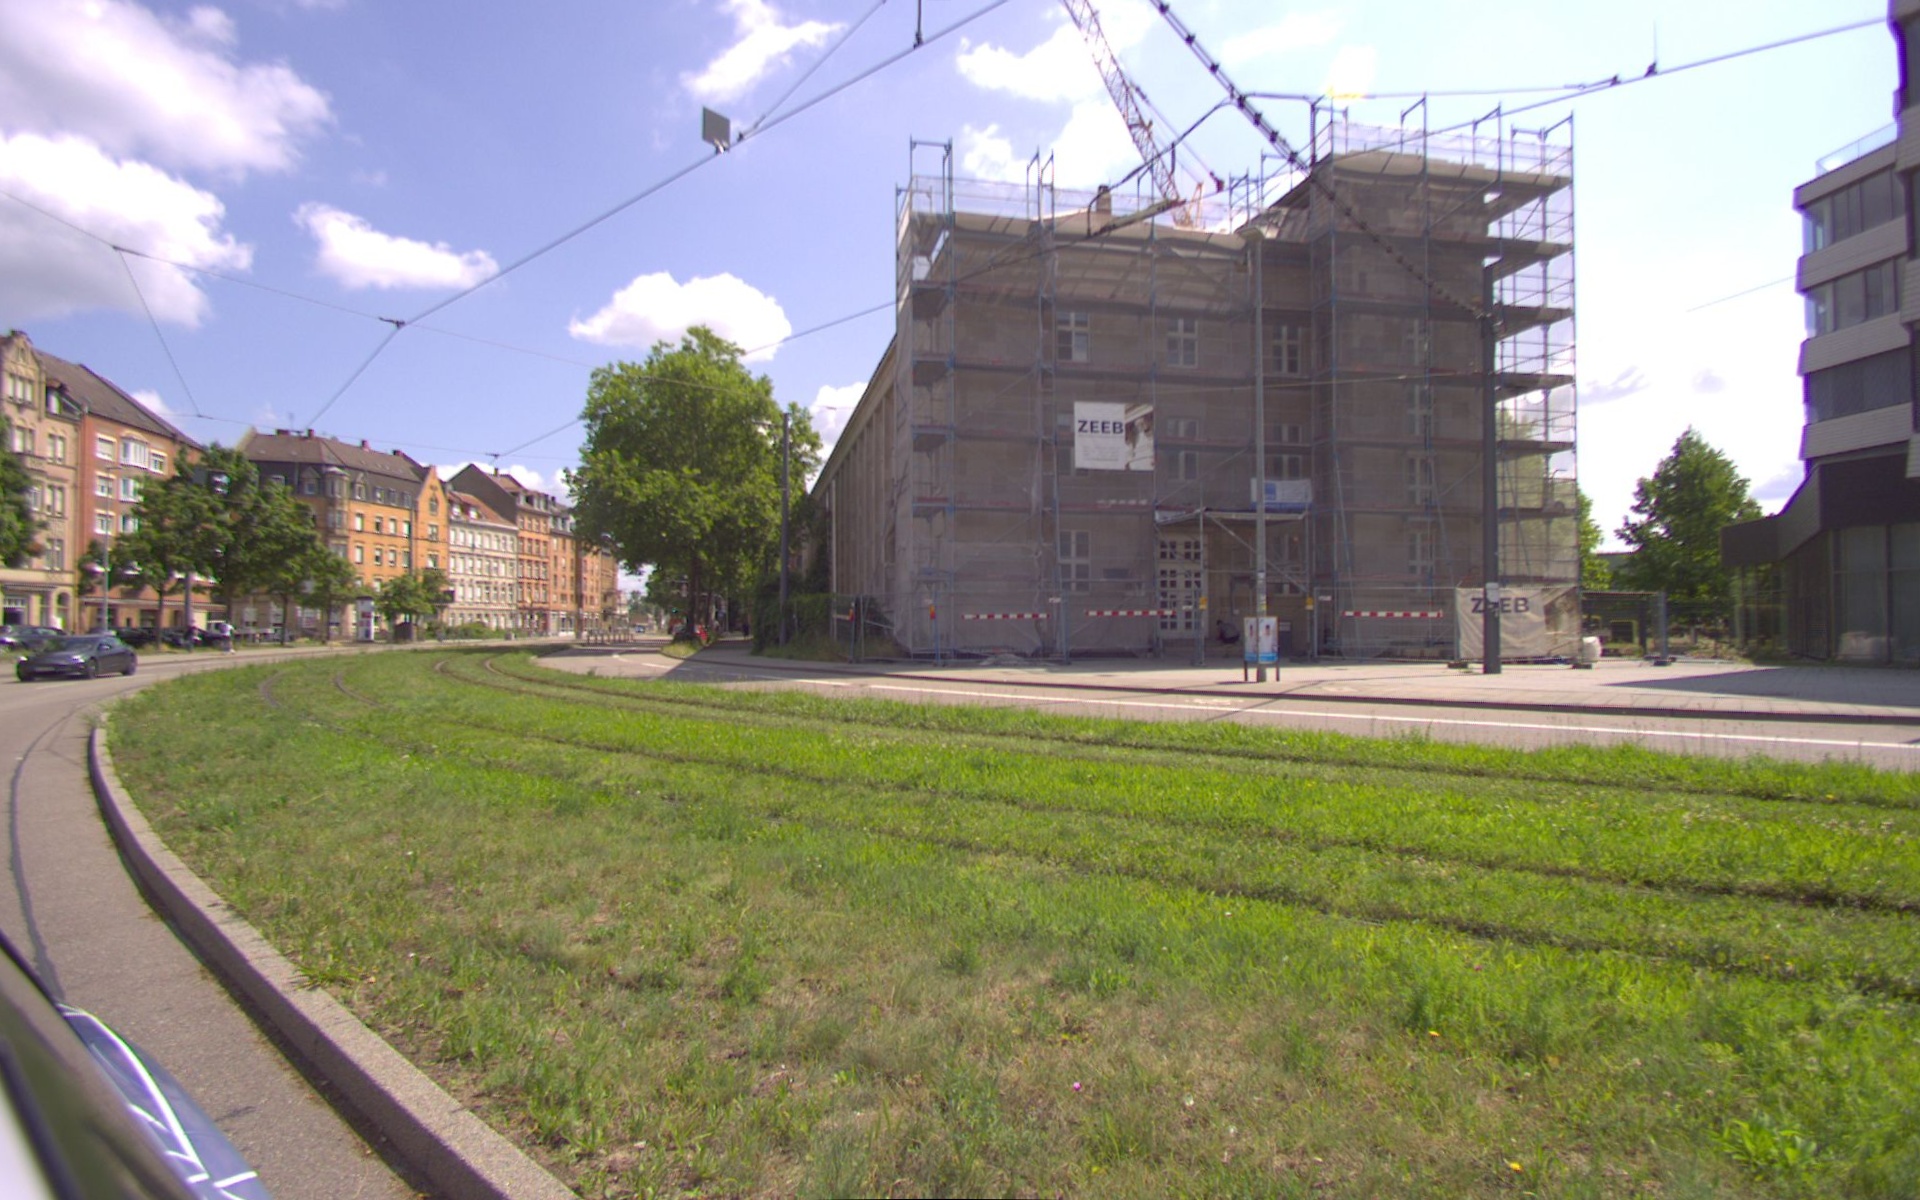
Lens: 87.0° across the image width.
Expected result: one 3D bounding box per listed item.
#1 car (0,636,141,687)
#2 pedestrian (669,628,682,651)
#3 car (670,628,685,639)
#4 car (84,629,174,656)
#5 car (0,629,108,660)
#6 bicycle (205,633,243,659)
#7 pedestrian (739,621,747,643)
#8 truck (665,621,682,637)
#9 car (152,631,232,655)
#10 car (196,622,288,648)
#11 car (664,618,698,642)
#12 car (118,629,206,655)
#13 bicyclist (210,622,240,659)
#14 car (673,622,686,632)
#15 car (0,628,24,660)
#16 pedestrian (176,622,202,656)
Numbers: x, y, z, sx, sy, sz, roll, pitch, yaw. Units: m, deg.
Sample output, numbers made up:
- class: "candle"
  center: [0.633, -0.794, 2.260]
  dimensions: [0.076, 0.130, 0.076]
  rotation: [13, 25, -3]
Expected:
- class: "car"
  center: [-28.463, 1.913, 32.469]
  dimensions: [1.883, 1.404, 4.326]
  rotation: [-1, -1, -17]
- class: "pedestrian"
  center: [-21.984, 3.055, 78.199]
  dimensions: [0.771, 1.717, 0.704]
  rotation: [0, -2, -39]
- class: "car"
  center: [-39.569, 4.743, 141.779]
  dimensions: [1.736, 1.491, 3.797]
  rotation: [2, -3, -13]
- class: "car"
  center: [-47.325, 2.401, 57.694]
  dimensions: [3.937, 1.391, 1.965]
  rotation: [-1, -1, -40]
- class: "car"
  center: [-45.517, 2.225, 50.602]
  dimensions: [1.851, 1.391, 4.211]
  rotation: [-2, -1, 41]
- class: "bicycle"
  center: [-38.013, 2.397, 52.268]
  dimensions: [0.685, 1.251, 1.842]
  rotation: [5, -4, -8]
- class: "pedestrian"
  center: [-15.919, 2.340, 74.173]
  dimensions: [0.546, 1.603, 0.797]
  rotation: [-1, -1, -13]
- class: "truck"
  center: [-55.302, 5.572, 195.335]
  dimensions: [2.604, 3.130, 7.240]
  rotation: [2, -2, -13]
- class: "car"
  center: [-48.527, 2.676, 64.011]
  dimensions: [3.934, 1.364, 1.966]
  rotation: [-1, -1, -35]
- class: "car"
  center: [-69.453, 3.358, 98.036]
  dimensions: [6.860, 2.392, 2.270]
  rotation: [0, -2, -18]
- class: "car"
  center: [-16.908, 1.841, 61.521]
  dimensions: [1.900, 1.379, 4.329]
  rotation: [-2, -2, -15]
- class: "car"
  center: [-47.786, 2.492, 60.646]
  dimensions: [1.962, 1.391, 3.942]
  rotation: [-2, -1, 45]
- class: "bicyclist"
  center: [-37.993, 2.106, 52.328]
  dimensions: [0.685, 1.838, 0.958]
  rotation: [5, -4, -8]
- class: "car"
  center: [-48.177, 4.644, 173.744]
  dimensions: [1.895, 1.759, 4.549]
  rotation: [3, -2, -13]
- class: "car"
  center: [-44.014, 1.972, 44.380]
  dimensions: [1.851, 1.391, 4.211]
  rotation: [-2, -1, 41]
- class: "pedestrian"
  center: [-39.454, 2.001, 51.782]
  dimensions: [0.691, 1.717, 1.047]
  rotation: [1, 0, -14]
